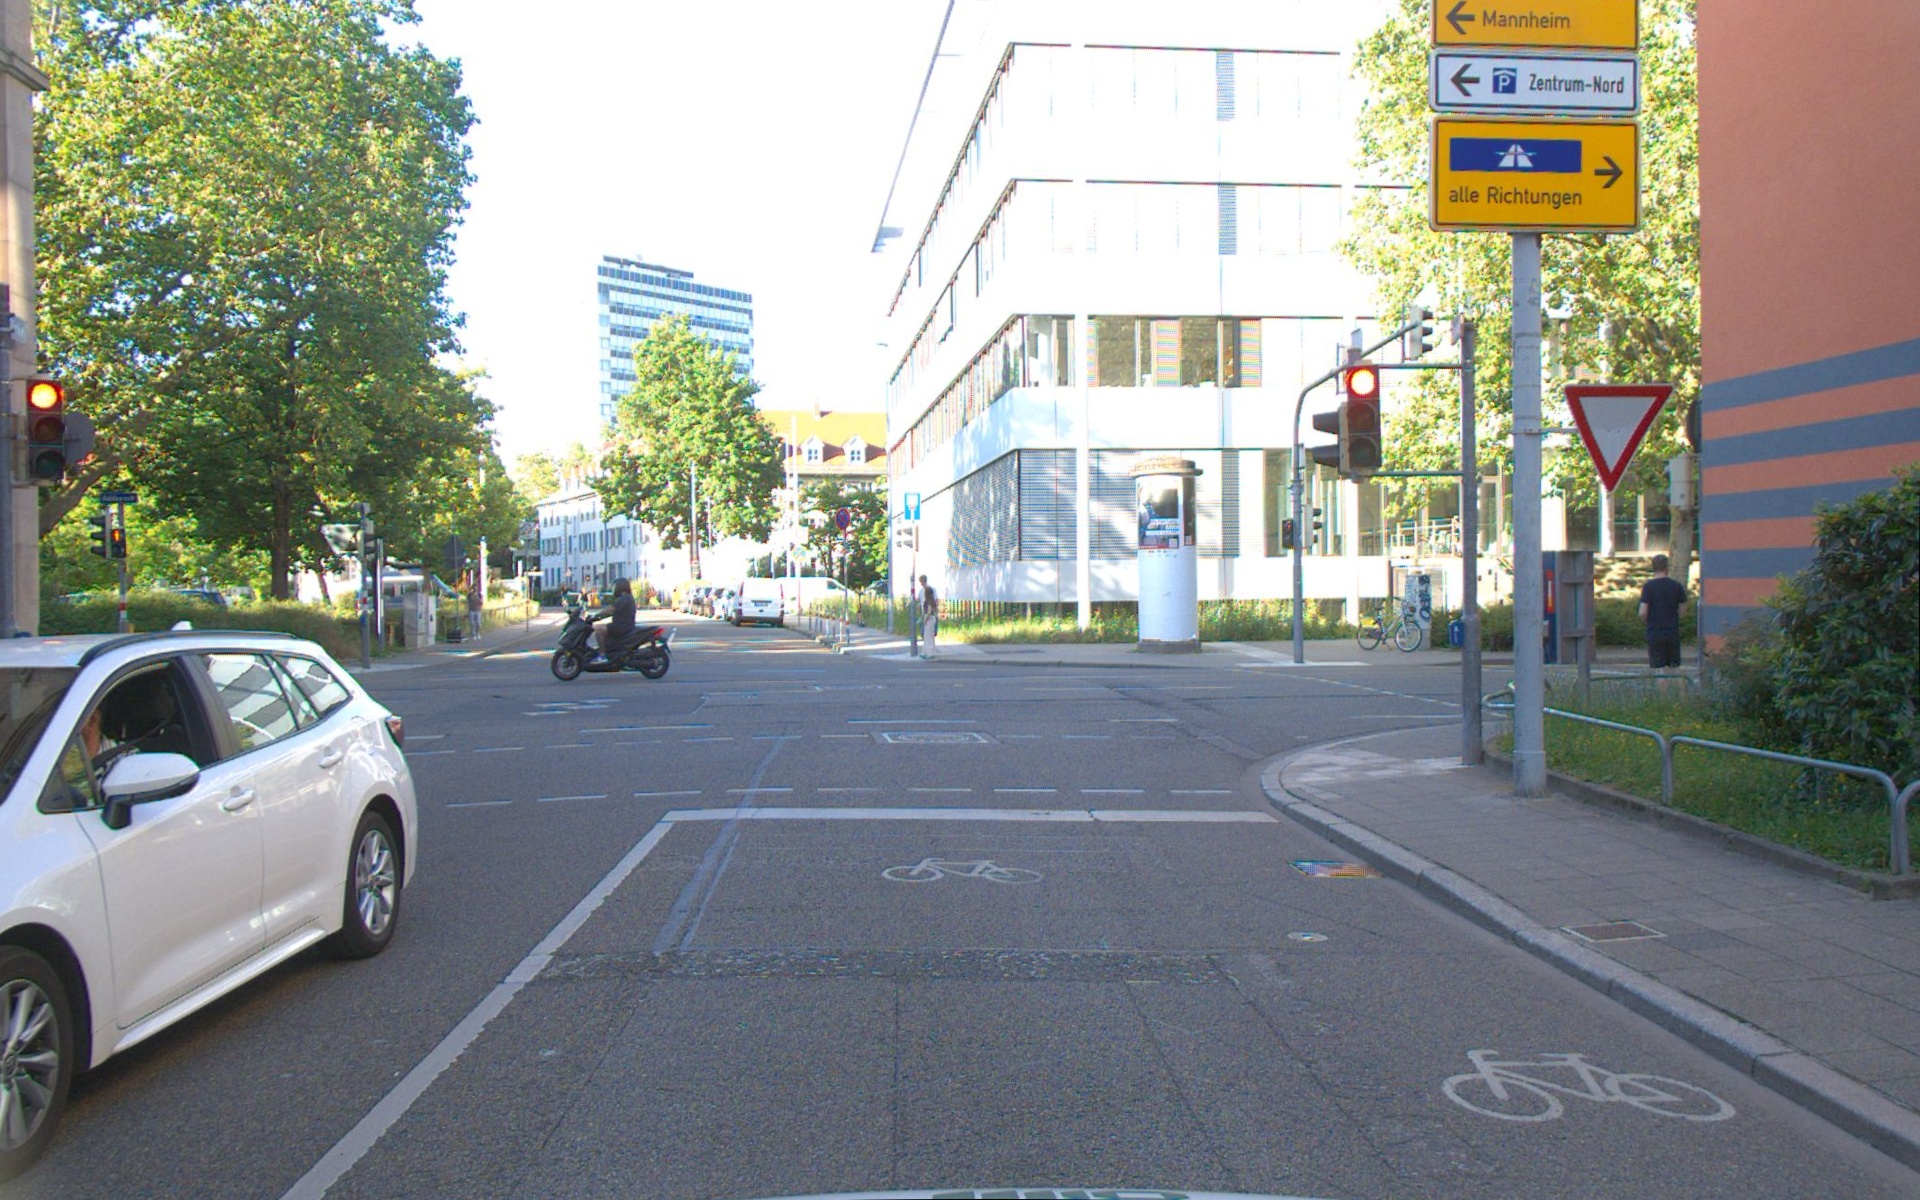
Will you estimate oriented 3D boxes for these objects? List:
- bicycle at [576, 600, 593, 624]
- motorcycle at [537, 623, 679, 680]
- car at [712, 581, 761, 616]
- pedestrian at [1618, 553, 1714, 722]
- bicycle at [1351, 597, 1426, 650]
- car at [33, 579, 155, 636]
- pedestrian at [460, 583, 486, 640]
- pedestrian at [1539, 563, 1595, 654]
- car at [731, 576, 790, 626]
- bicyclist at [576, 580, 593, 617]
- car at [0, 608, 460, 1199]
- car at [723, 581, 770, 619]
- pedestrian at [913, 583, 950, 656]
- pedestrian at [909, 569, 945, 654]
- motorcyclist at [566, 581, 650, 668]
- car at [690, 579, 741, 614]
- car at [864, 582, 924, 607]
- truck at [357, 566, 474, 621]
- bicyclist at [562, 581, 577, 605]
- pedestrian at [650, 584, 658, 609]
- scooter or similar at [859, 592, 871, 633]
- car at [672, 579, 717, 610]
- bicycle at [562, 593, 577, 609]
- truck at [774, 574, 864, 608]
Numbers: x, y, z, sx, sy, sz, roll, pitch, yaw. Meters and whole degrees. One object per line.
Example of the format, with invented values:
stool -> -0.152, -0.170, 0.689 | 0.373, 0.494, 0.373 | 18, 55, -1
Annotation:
bicycle -> -16.131, 0.514, 71.063 | 0.604, 0.986, 1.837 | -1, 1, -9
motorcycle -> -6.022, 0.878, 28.391 | 2.251, 0.904, 0.821 | -1, 0, -2
car -> -10.601, -0.097, 78.146 | 1.856, 1.582, 4.400 | 0, 1, -14
pedestrian -> 8.024, 0.414, 18.829 | 0.692, 1.872, 0.837 | 1, 0, -1
bicycle -> 9.354, 0.497, 36.164 | 0.503, 1.067, 1.667 | -3, 4, -35
car -> -39.968, 0.338, 76.437 | 4.472, 2.433, 2.069 | -2, 0, -10
pedestrian -> -15.184, 0.348, 51.572 | 0.691, 1.753, 0.951 | -2, 0, -15
pedestrian -> 12.658, 0.179, 34.513 | 0.819, 1.872, 0.707 | 1, 0, -11
car -> -7.825, -0.006, 64.523 | 2.047, 1.827, 4.404 | 0, 1, -10
bicyclist -> -16.143, -0.084, 71.074 | 0.604, 1.559, 0.901 | -1, 0, -9
car -> -3.406, 0.848, 5.769 | 1.848, 1.501, 4.545 | -3, 0, 0
car -> -9.434, -0.023, 72.792 | 1.854, 1.582, 4.404 | 0, 1, -10
pedestrian -> -0.640, 0.433, 37.179 | 0.551, 1.567, 0.673 | -4, 1, -19
pedestrian -> -0.756, 0.266, 37.783 | 0.547, 1.882, 0.678 | -3, 1, 15
motorcyclist -> -6.031, 0.409, 28.394 | 1.268, 1.444, 0.821 | -1, 0, -2
car -> -12.665, -0.220, 85.364 | 1.860, 1.684, 4.391 | 0, 1, -19
car -> -4.153, -0.342, 104.173 | 3.502, 1.573, 1.549 | -1, 0, -20
truck -> -24.557, -0.322, 74.752 | 4.741, 2.441, 2.082 | 0, 1, -11
bicyclist -> -25.998, -0.484, 110.027 | 0.850, 1.541, 1.016 | -3, 0, -11
pedestrian -> -19.901, -0.218, 107.576 | 0.428, 1.636, 0.488 | -1, 0, -27
scooter or similar -> -3.358, 0.441, 58.505 | 0.324, 1.449, 1.333 | 1, 0, -6
car -> -15.338, -0.331, 95.260 | 1.860, 1.684, 4.391 | 0, 1, -19
bicycle -> -25.975, 0.048, 110.013 | 0.850, 1.027, 2.408 | -3, 0, -11
truck -> -8.767, -0.557, 102.918 | 5.258, 2.049, 1.989 | -1, 0, -20
